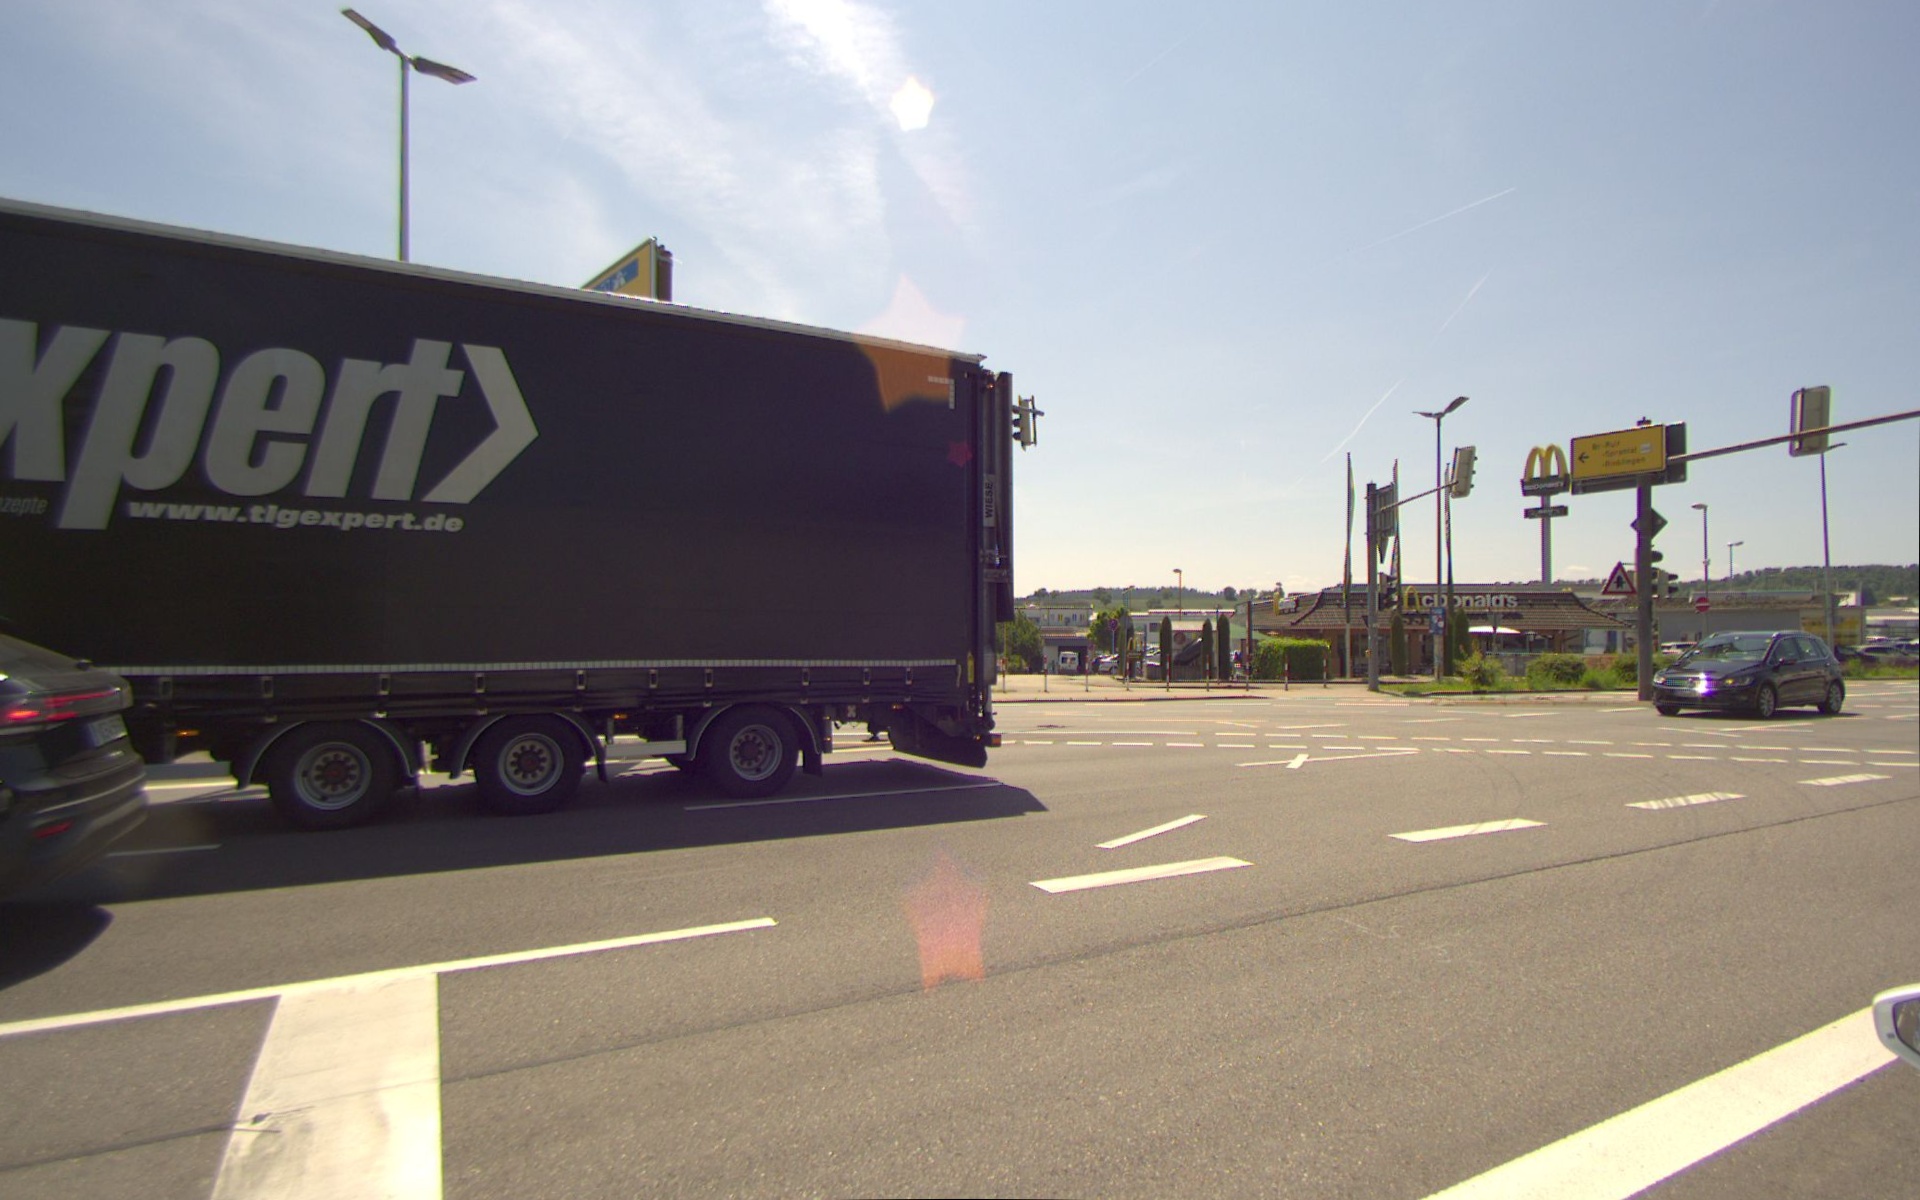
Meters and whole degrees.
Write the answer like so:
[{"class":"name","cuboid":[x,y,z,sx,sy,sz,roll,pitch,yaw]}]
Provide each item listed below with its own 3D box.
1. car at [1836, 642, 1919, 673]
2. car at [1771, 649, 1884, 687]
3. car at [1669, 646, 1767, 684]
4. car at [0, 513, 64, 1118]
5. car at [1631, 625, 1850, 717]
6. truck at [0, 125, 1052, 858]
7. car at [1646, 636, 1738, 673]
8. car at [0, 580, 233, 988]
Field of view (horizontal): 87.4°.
[{"class":"car","cuboid":[51.172,3.172,55.621,3.516,1.680,1.792,0,-2,13]},{"class":"car","cuboid":[44.272,3.437,51.361,3.919,1.817,2.001,0,-2,7]},{"class":"car","cuboid":[42.383,3.611,56.223,3.919,2.040,1.945,0,-1,7]},{"class":"car","cuboid":[-4.287,0.542,1.299,4.315,1.649,1.786,1,-1,-29]},{"class":"car","cuboid":[15.058,1.322,19.354,4.193,1.603,1.818,1,-3,-29]},{"class":"truck","cuboid":[-7.449,-0.643,6.884,17.324,4.406,3.133,1,-2,-28]},{"class":"car","cuboid":[42.625,3.138,58.571,3.919,2.040,1.945,0,-1,7]},{"class":"car","cuboid":[-5.274,0.679,3.797,3.857,1.528,1.657,1,-2,-29]}]
